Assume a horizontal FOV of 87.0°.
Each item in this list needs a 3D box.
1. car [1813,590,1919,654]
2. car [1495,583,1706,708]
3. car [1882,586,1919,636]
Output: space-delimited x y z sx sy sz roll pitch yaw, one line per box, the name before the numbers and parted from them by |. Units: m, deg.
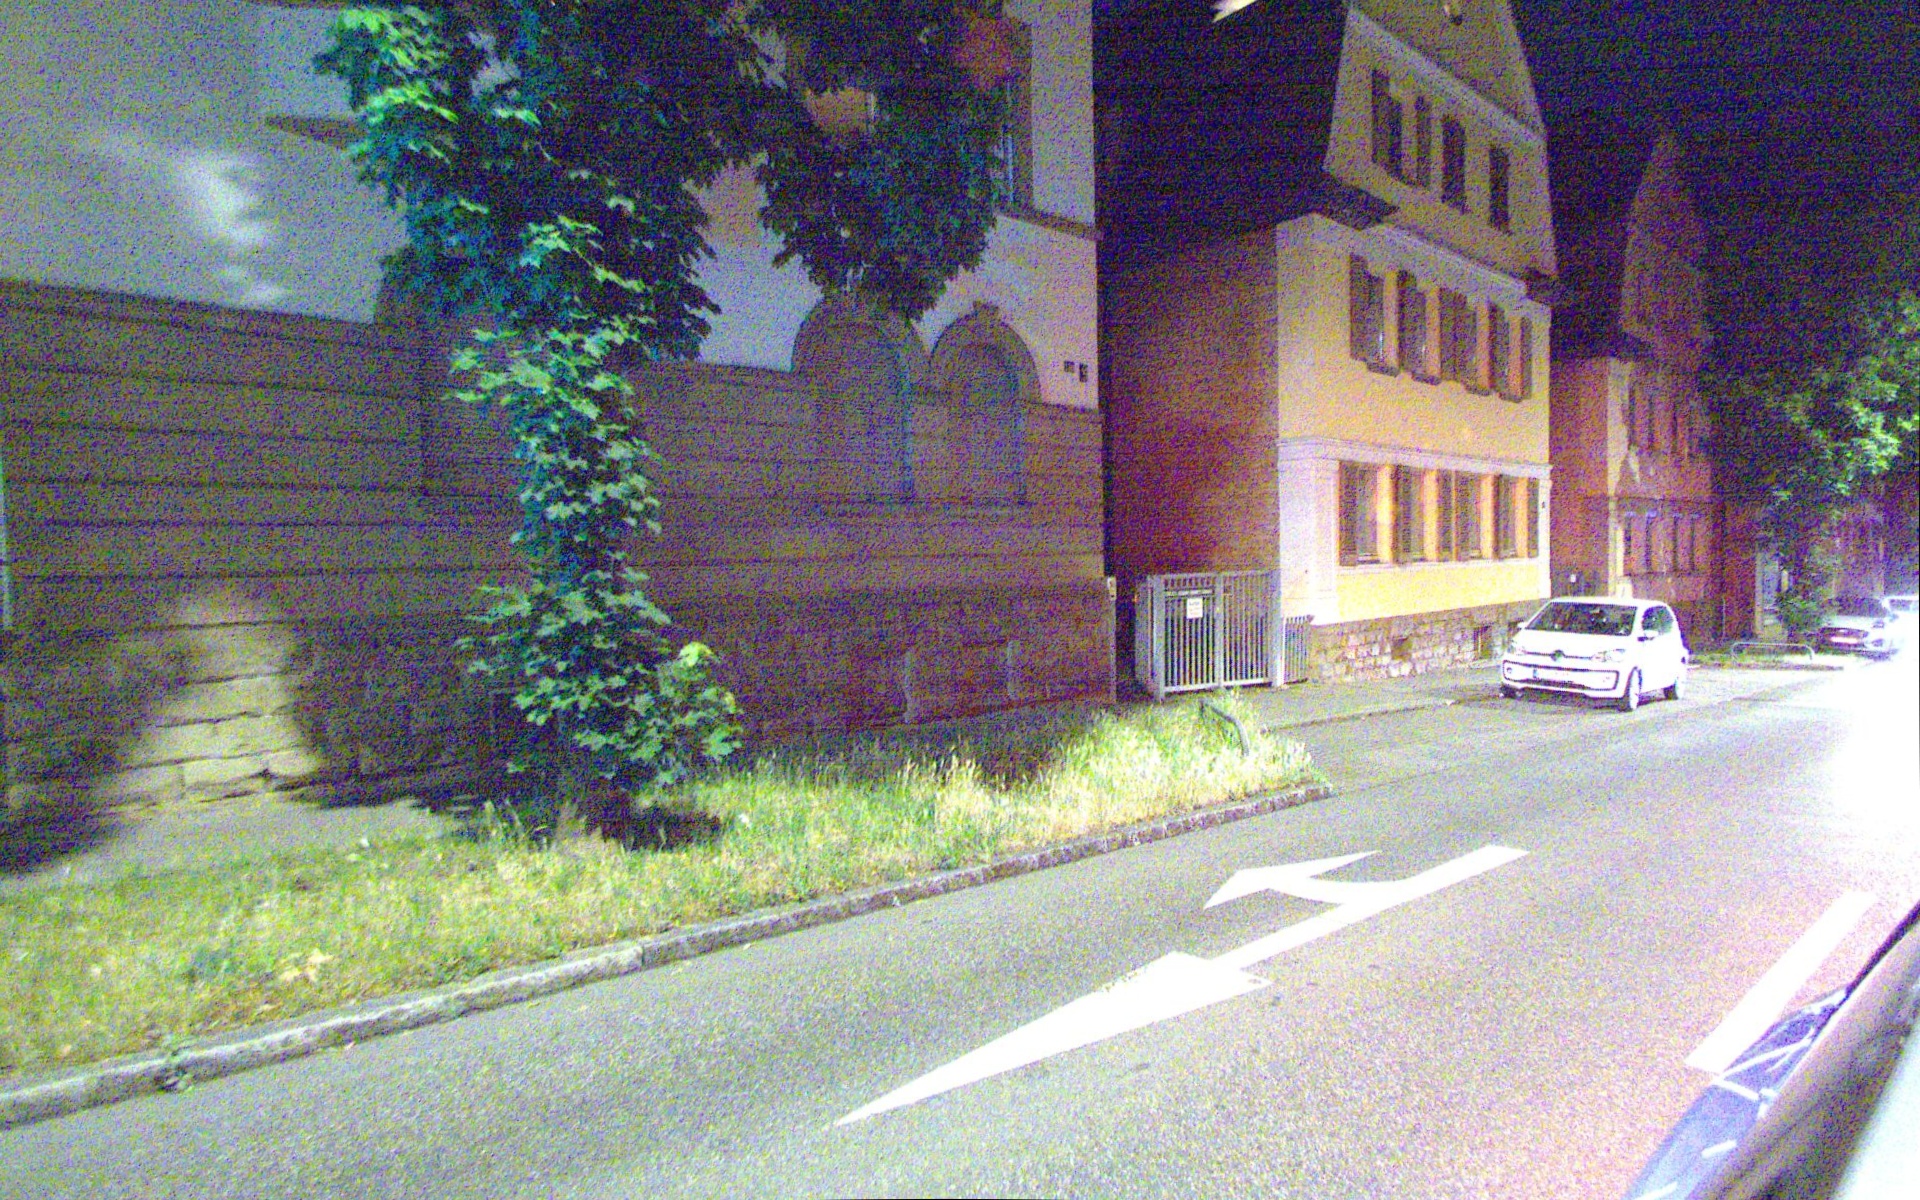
car | 23.616 0.508 26.279 3.824 1.516 1.740 0 2 -43
car | 9.249 0.567 14.534 3.425 1.527 1.610 0 2 -41
car | 33.540 0.368 35.136 4.107 1.673 1.850 0 0 -42
